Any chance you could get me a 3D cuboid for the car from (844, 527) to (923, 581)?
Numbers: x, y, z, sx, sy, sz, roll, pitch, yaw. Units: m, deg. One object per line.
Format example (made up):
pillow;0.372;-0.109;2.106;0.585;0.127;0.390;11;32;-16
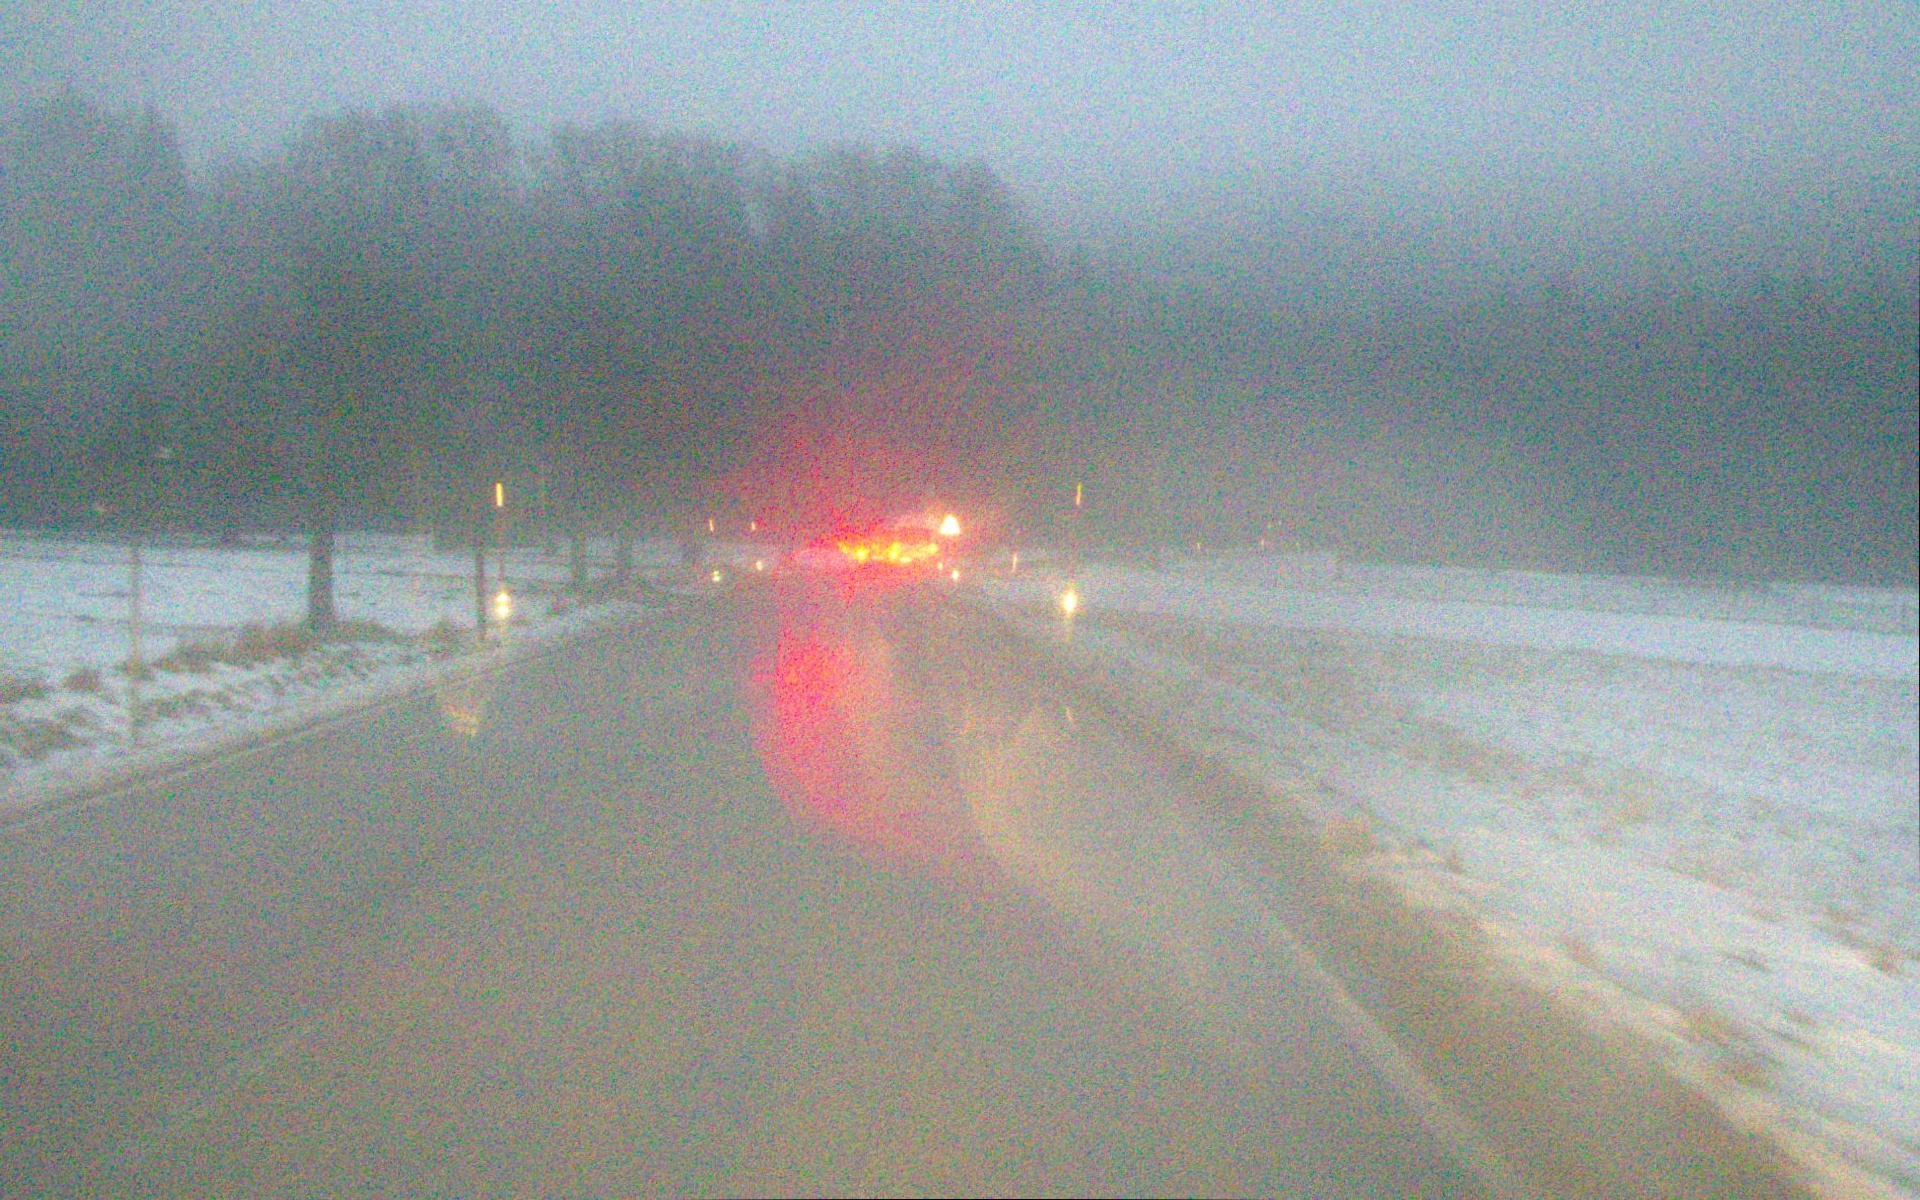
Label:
car;-3.046;-1.830;137.558;1.995;2.045;3.997;2;0;15
